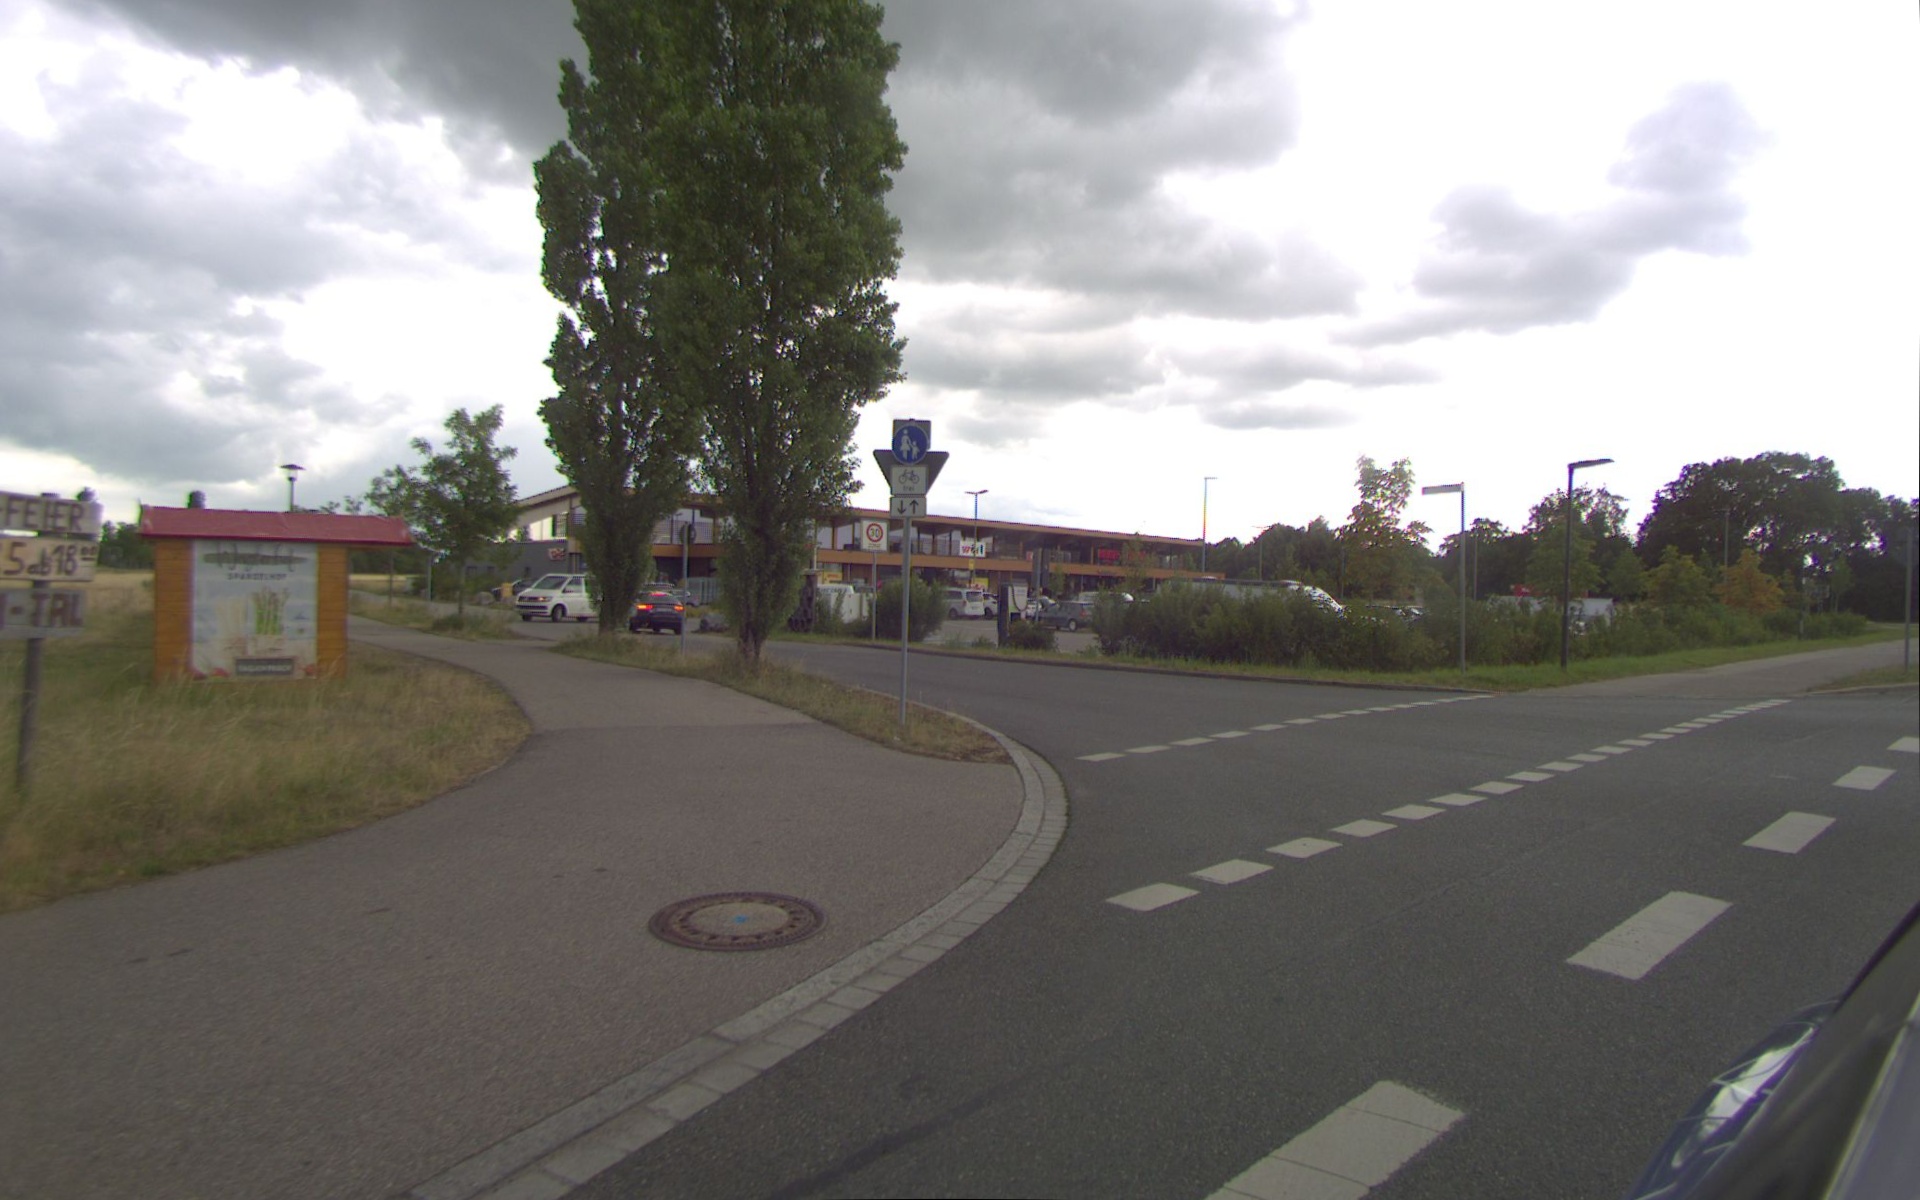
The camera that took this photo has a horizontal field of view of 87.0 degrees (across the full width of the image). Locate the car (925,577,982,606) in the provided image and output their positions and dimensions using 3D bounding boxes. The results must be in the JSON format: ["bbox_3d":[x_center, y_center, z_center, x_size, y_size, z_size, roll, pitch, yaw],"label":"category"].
[{"bbox_3d":[-0.462,-0.586,68.783,1.908,1.771,4.002,1,3,-35],"label":"car"}]

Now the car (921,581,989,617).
[{"bbox_3d":[-0.348,-0.081,61.479,2.004,1.935,3.900,1,3,-42],"label":"car"}]

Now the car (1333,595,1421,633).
[{"bbox_3d":[24.354,0.800,59.215,1.962,1.893,4.276,1,3,-35],"label":"car"}]

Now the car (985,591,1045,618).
[{"bbox_3d":[3.540,0.251,65.527,1.761,1.495,3.747,1,3,-40],"label":"car"}]

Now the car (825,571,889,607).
[{"bbox_3d":[-6.525,-0.717,63.963,1.819,2.035,4.226,1,3,-42],"label":"car"}]

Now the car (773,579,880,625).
[{"bbox_3d":[-6.558,0.071,50.048,4.855,1.929,2.108,3,2,4],"label":"car"}]

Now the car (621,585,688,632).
[{"bbox_3d":[-10.225,0.289,33.661,1.793,1.406,4.395,2,-1,-21],"label":"car"}]

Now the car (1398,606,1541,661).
[{"bbox_3d":[18.526,1.161,36.933,2.044,1.617,4.155,1,3,-42],"label":"car"}]

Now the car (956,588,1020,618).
[{"bbox_3d":[1.727,0.164,63.919,2.002,1.627,3.747,1,3,-40],"label":"car"}]

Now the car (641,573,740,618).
[{"bbox_3d":[-13.264,-0.205,49.953,4.209,2.038,1.999,1,3,-40],"label":"car"}]

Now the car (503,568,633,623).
[{"bbox_3d":[-16.092,-0.225,41.889,1.978,2.038,5.194,3,2,22],"label":"car"}]

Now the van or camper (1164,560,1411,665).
[{"bbox_3d":[9.284,0.241,29.327,2.242,2.494,6.478,1,3,-42],"label":"van or camper"}]

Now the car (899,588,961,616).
[{"bbox_3d":[-1.763,0.115,58.919,1.744,1.399,3.468,1,3,-42],"label":"car"}]

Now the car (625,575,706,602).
[{"bbox_3d":[-17.281,-0.658,59.510,4.124,1.427,1.999,1,3,-40],"label":"car"}]

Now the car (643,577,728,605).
[{"bbox_3d":[-15.208,-0.487,56.188,4.180,1.365,1.837,1,3,-40],"label":"car"}]

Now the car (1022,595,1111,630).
[{"bbox_3d":[5.262,0.594,50.332,1.869,1.450,4.186,1,3,-42],"label":"car"}]

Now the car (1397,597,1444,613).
[{"bbox_3d":[46.229,0.512,101.593,3.916,1.376,1.705,2,2,-13],"label":"car"}]
